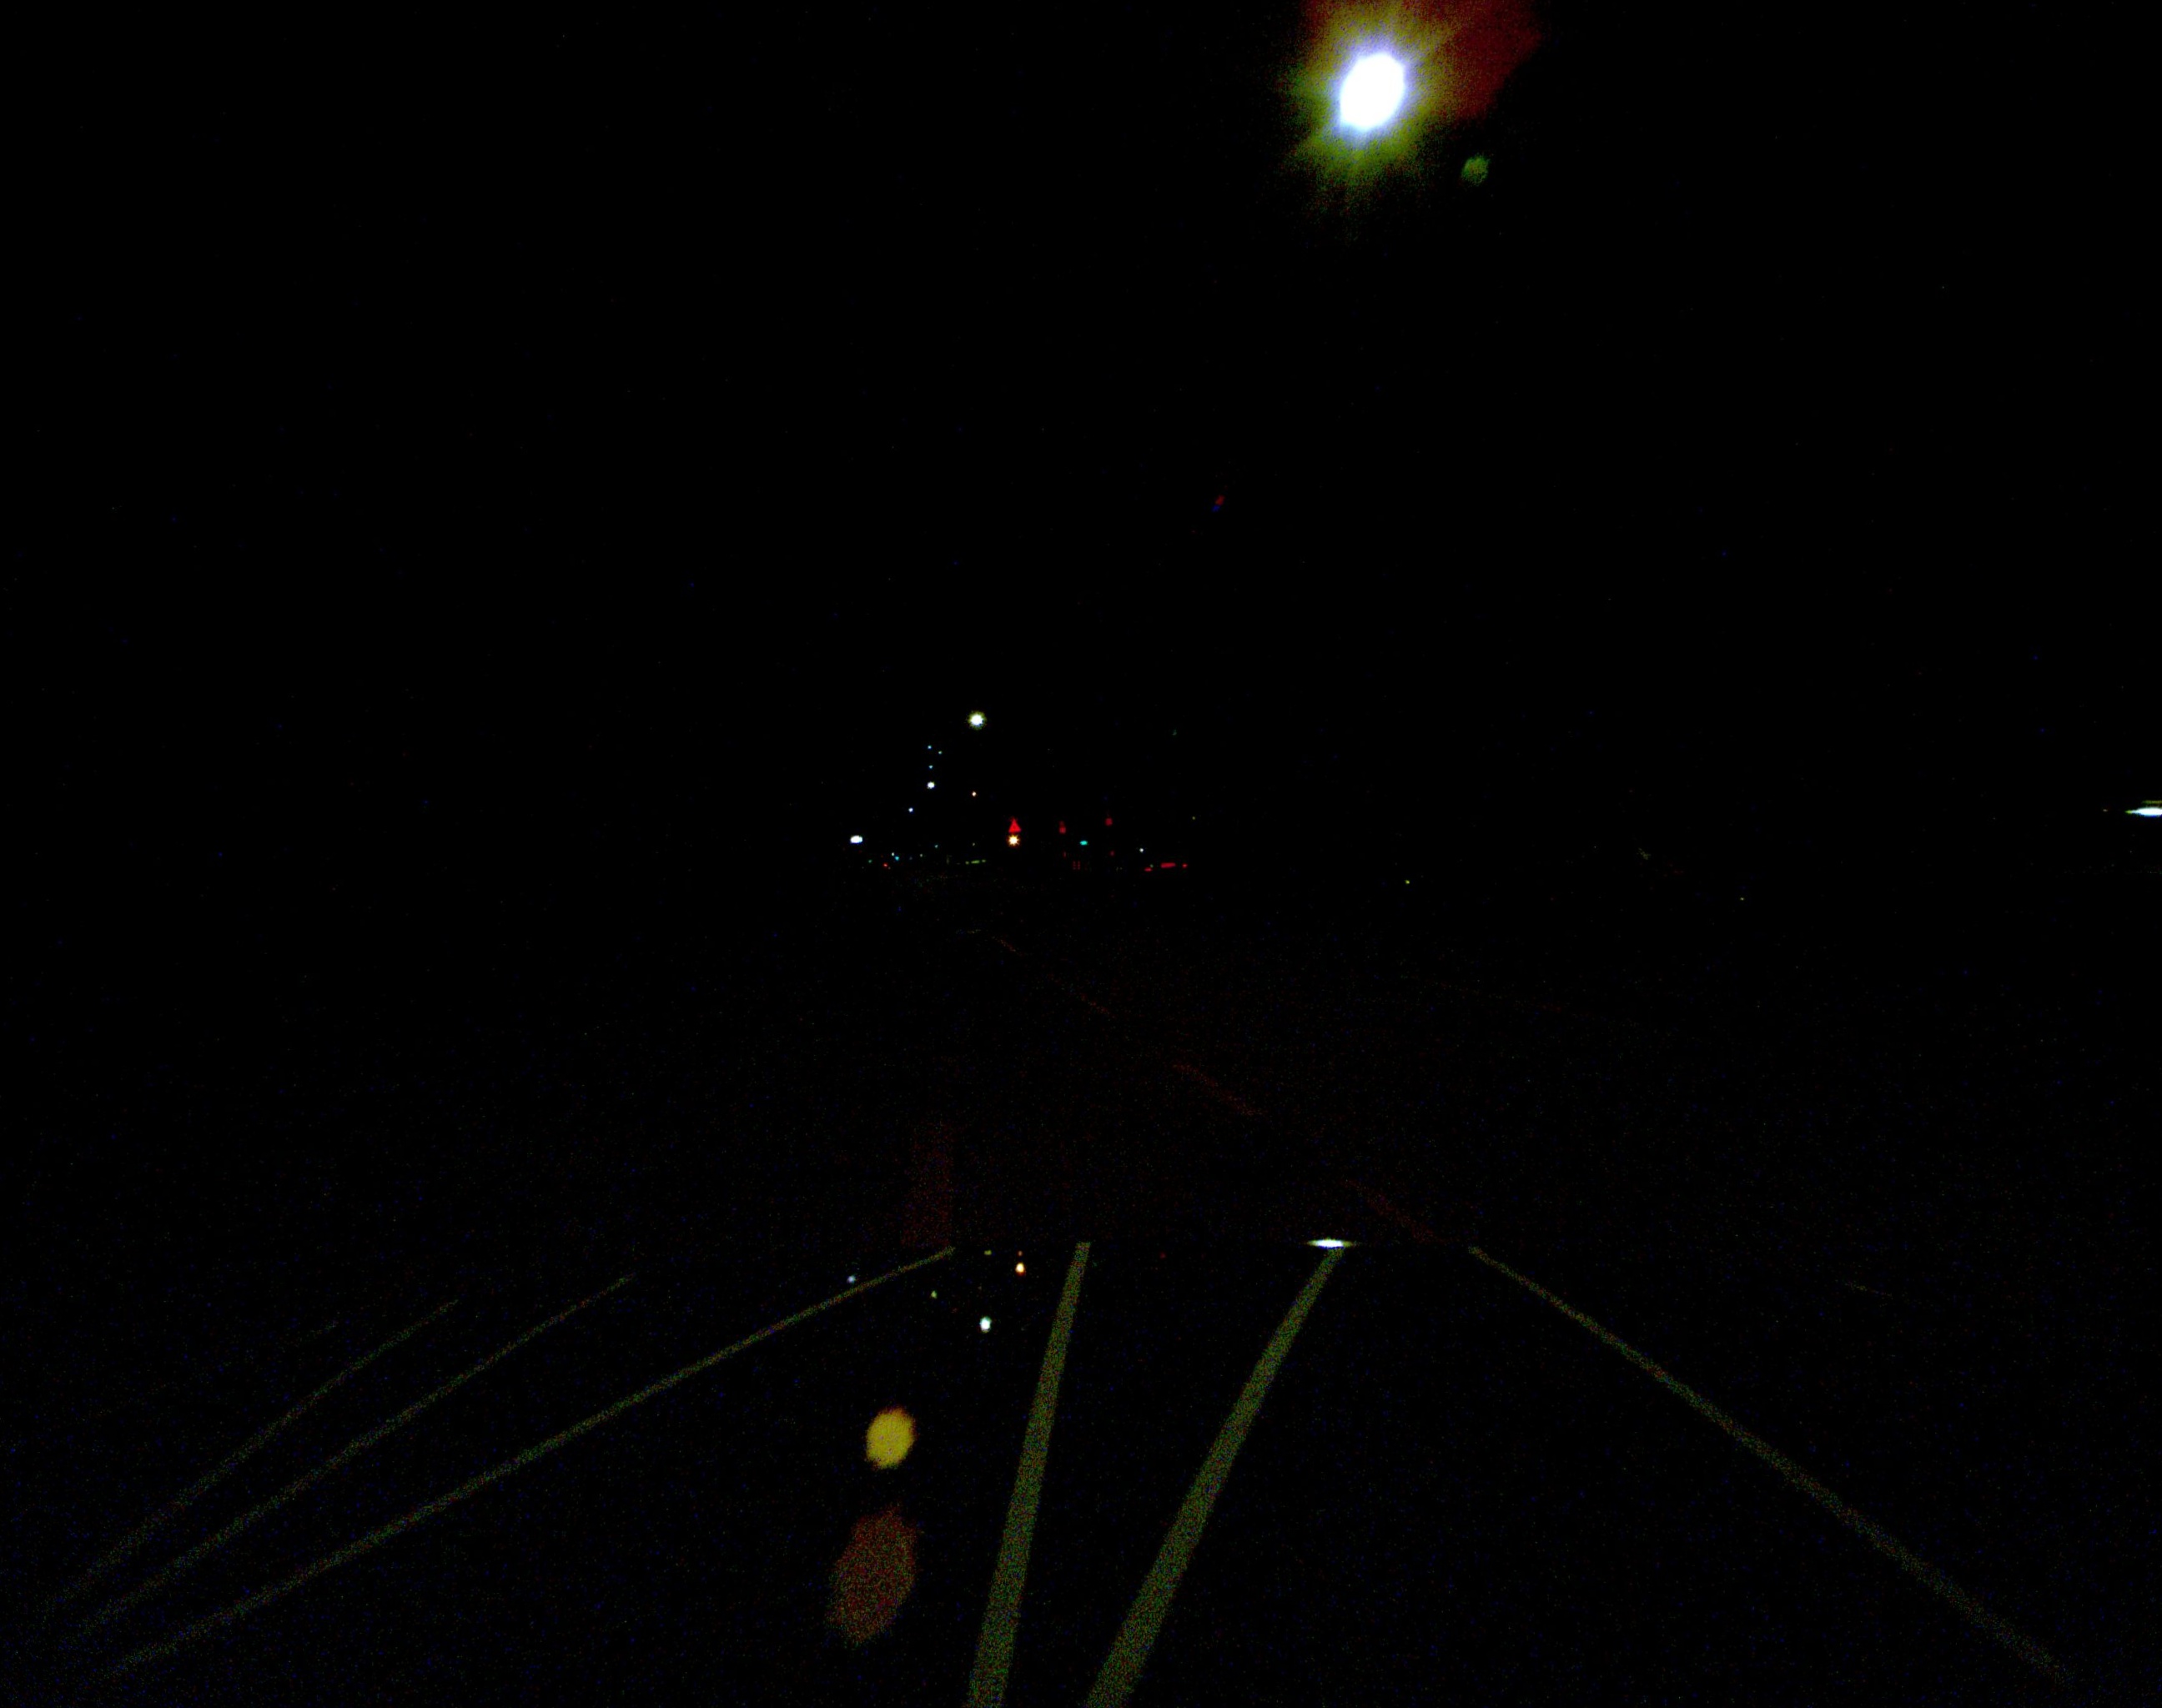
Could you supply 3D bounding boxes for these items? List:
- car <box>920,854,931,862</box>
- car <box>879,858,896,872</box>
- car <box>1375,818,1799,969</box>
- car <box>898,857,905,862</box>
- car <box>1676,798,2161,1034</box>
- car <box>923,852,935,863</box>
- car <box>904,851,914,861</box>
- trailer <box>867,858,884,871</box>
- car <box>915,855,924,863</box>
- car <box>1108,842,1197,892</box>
[{"bbox_3d":[-30.755,0.828,150.154,1.828,1.424,3.726,-7,1,-13],"label":"car"},{"bbox_3d":[-21.857,1.251,85.976,1.592,1.453,3.792,-5,1,-12],"label":"car"},{"bbox_3d":[6.331,0.399,10.355,1.775,1.477,4.761,-3,1,-16],"label":"car"},{"bbox_3d":[-56.959,1.633,240.768,1.828,1.424,3.726,-7,1,-16],"label":"car"},{"bbox_3d":[7.550,0.356,5.599,1.774,1.477,4.857,-3,1,-15],"label":"car"},{"bbox_3d":[-28.875,0.687,144.451,1.884,1.799,3.726,-7,1,-13],"label":"car"},{"bbox_3d":[-48.590,0.527,214.595,2.007,2.493,4.947,-7,2,-16],"label":"car"},{"bbox_3d":[-25.396,1.279,93.973,1.606,1.486,3.730,-5,1,-11],"label":"trailer"},{"bbox_3d":[-36.548,1.055,171.407,1.828,1.637,3.726,-3,1,-14],"label":"car"},{"bbox_3d":[2.386,0.428,26.356,1.720,1.485,3.985,-5,1,-14],"label":"car"}]
